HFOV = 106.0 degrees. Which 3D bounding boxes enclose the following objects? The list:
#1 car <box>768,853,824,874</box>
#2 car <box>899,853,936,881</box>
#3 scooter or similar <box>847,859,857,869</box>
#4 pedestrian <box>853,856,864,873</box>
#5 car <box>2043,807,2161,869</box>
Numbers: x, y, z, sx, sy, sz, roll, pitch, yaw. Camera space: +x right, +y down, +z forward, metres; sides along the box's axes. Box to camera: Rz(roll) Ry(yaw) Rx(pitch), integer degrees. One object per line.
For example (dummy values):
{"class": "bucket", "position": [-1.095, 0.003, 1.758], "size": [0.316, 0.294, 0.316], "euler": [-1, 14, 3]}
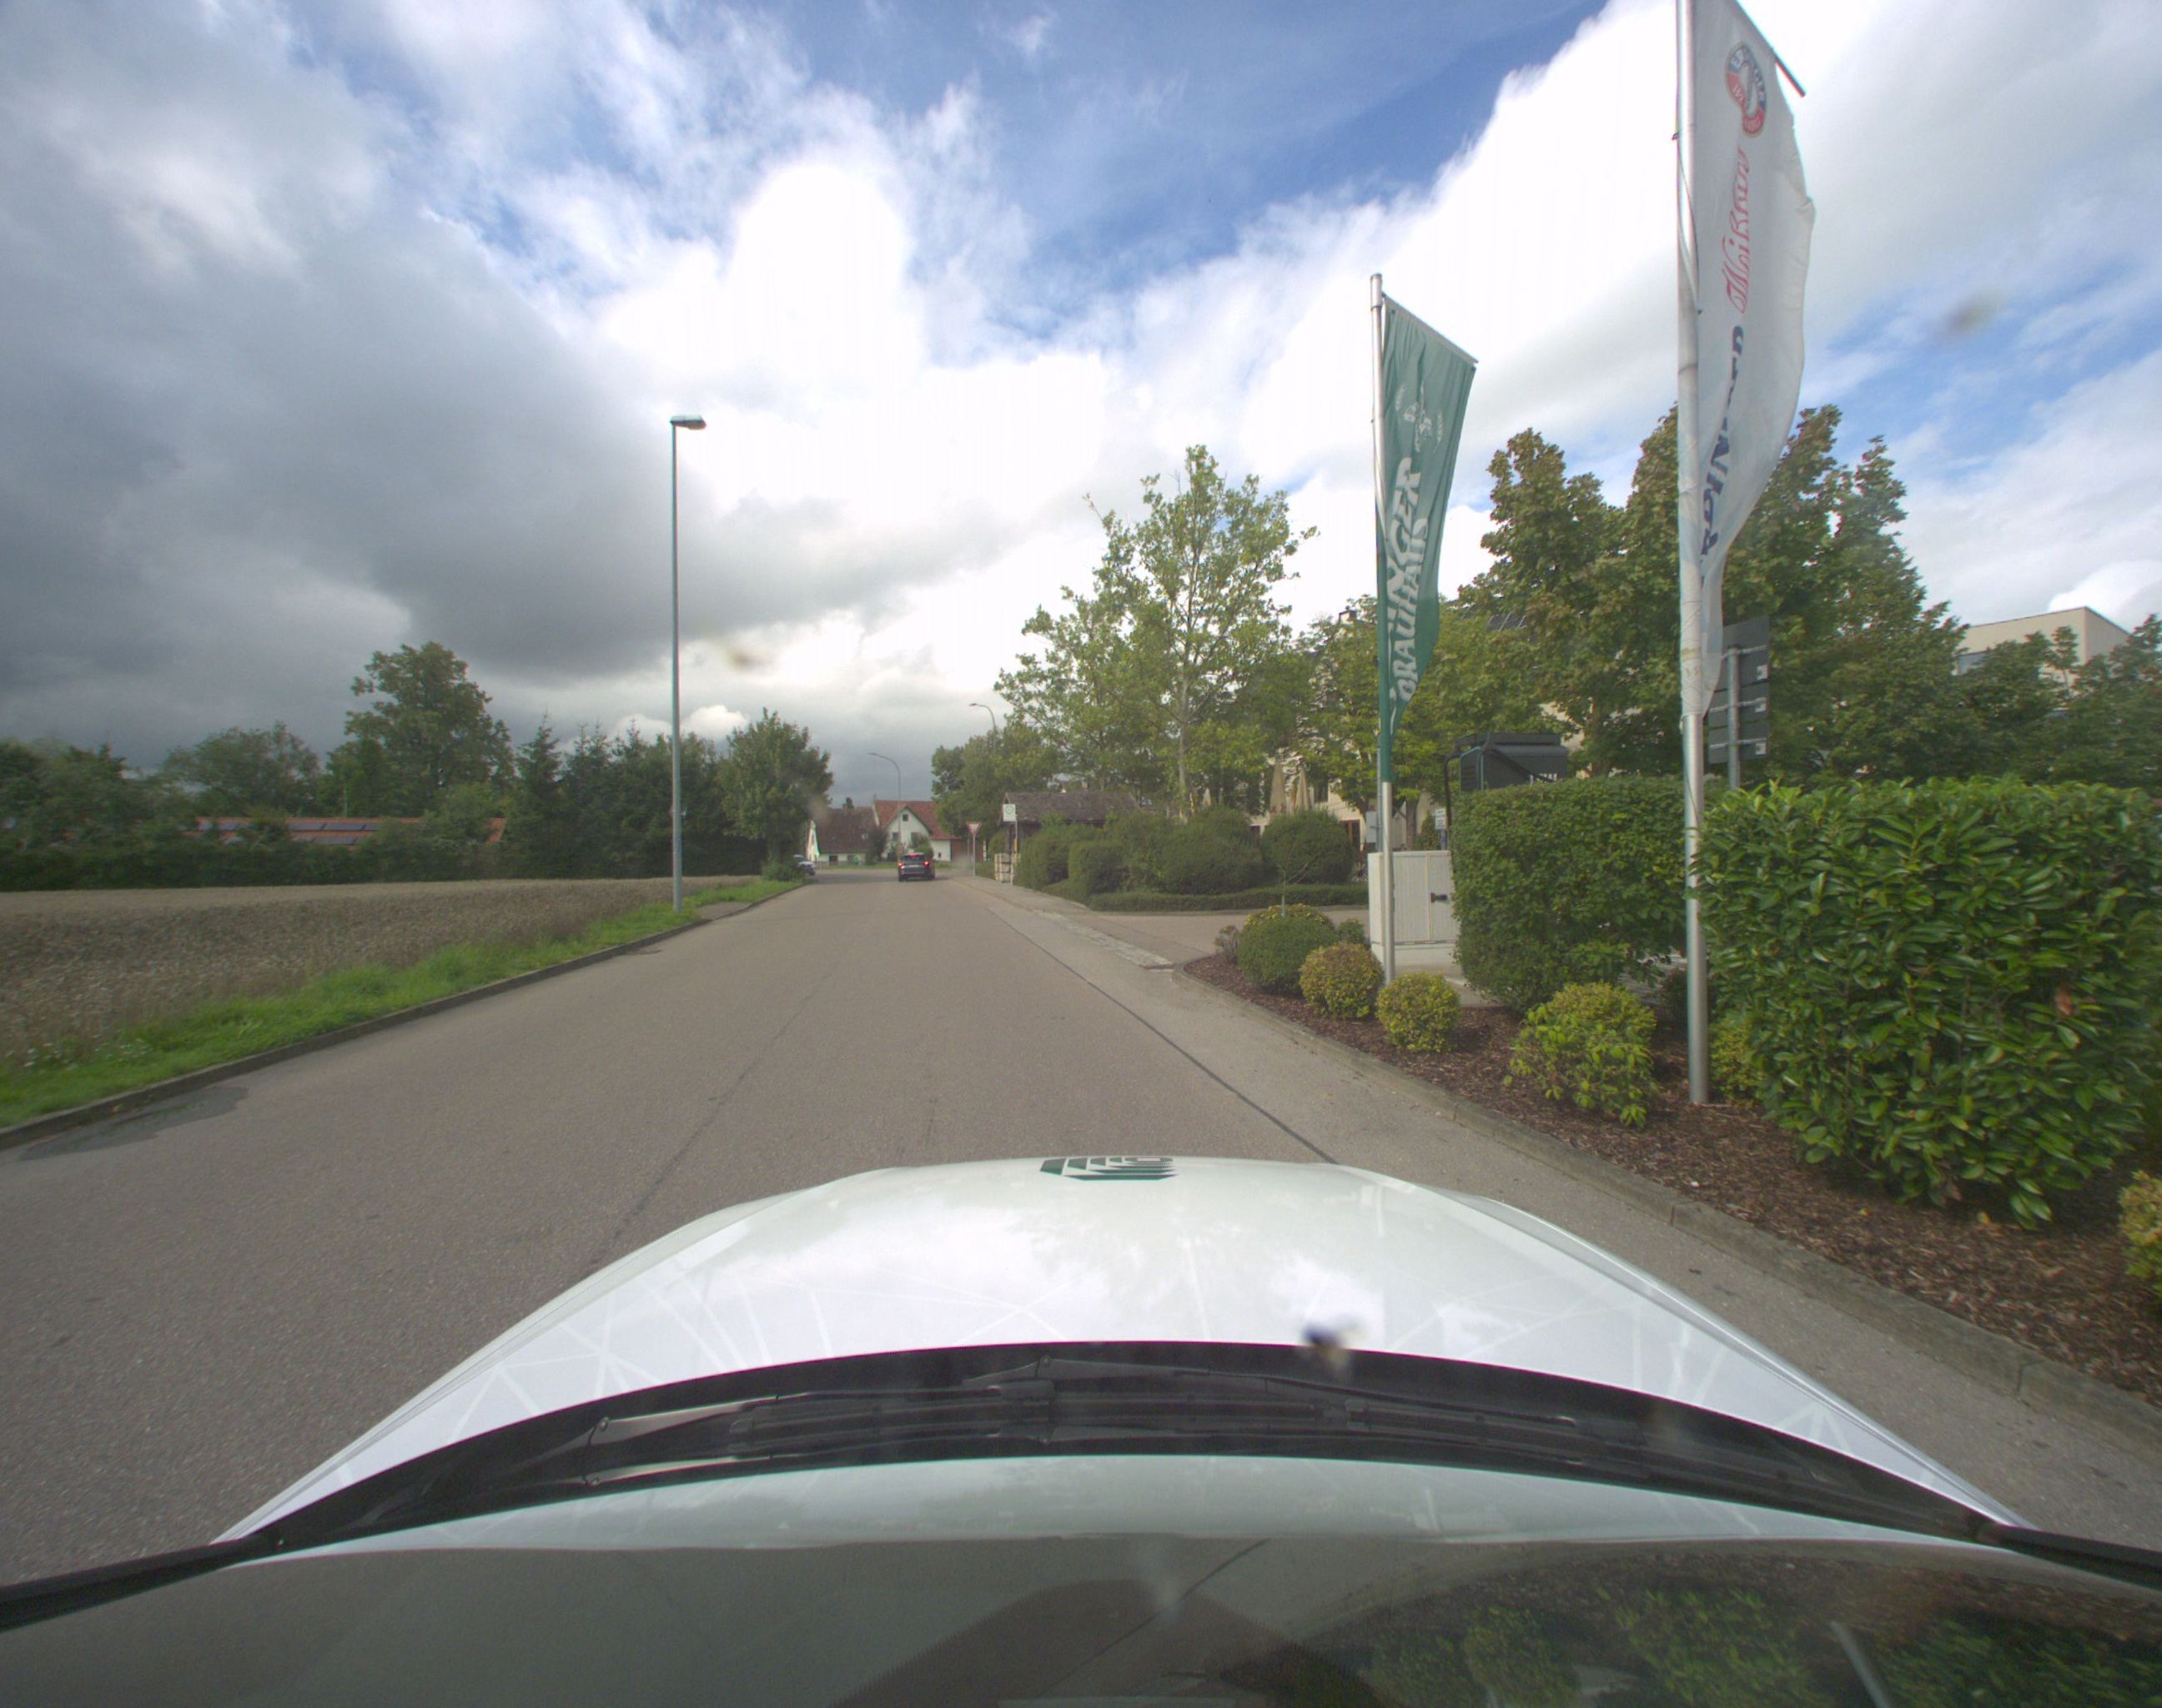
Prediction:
{"class": "car", "position": [-21.817, 0.724, 62.307], "size": [3.940, 1.515, 1.815], "euler": [-1, 0, 26]}
{"class": "car", "position": [-9.252, 0.722, 45.957], "size": [1.802, 1.462, 3.643], "euler": [-1, 0, -15]}
{"class": "scooter or similar", "position": [-22.779, 1.020, 81.001], "size": [0.614, 0.948, 0.636], "euler": [-1, -4, 44]}
{"class": "pedestrian", "position": [-22.061, 1.034, 80.717], "size": [0.703, 1.665, 0.795], "euler": [-1, -4, 44]}
{"class": "car", "position": [30.748, -0.451, 22.664], "size": [1.742, 1.711, 5.070], "euler": [-1, 0, -5]}
